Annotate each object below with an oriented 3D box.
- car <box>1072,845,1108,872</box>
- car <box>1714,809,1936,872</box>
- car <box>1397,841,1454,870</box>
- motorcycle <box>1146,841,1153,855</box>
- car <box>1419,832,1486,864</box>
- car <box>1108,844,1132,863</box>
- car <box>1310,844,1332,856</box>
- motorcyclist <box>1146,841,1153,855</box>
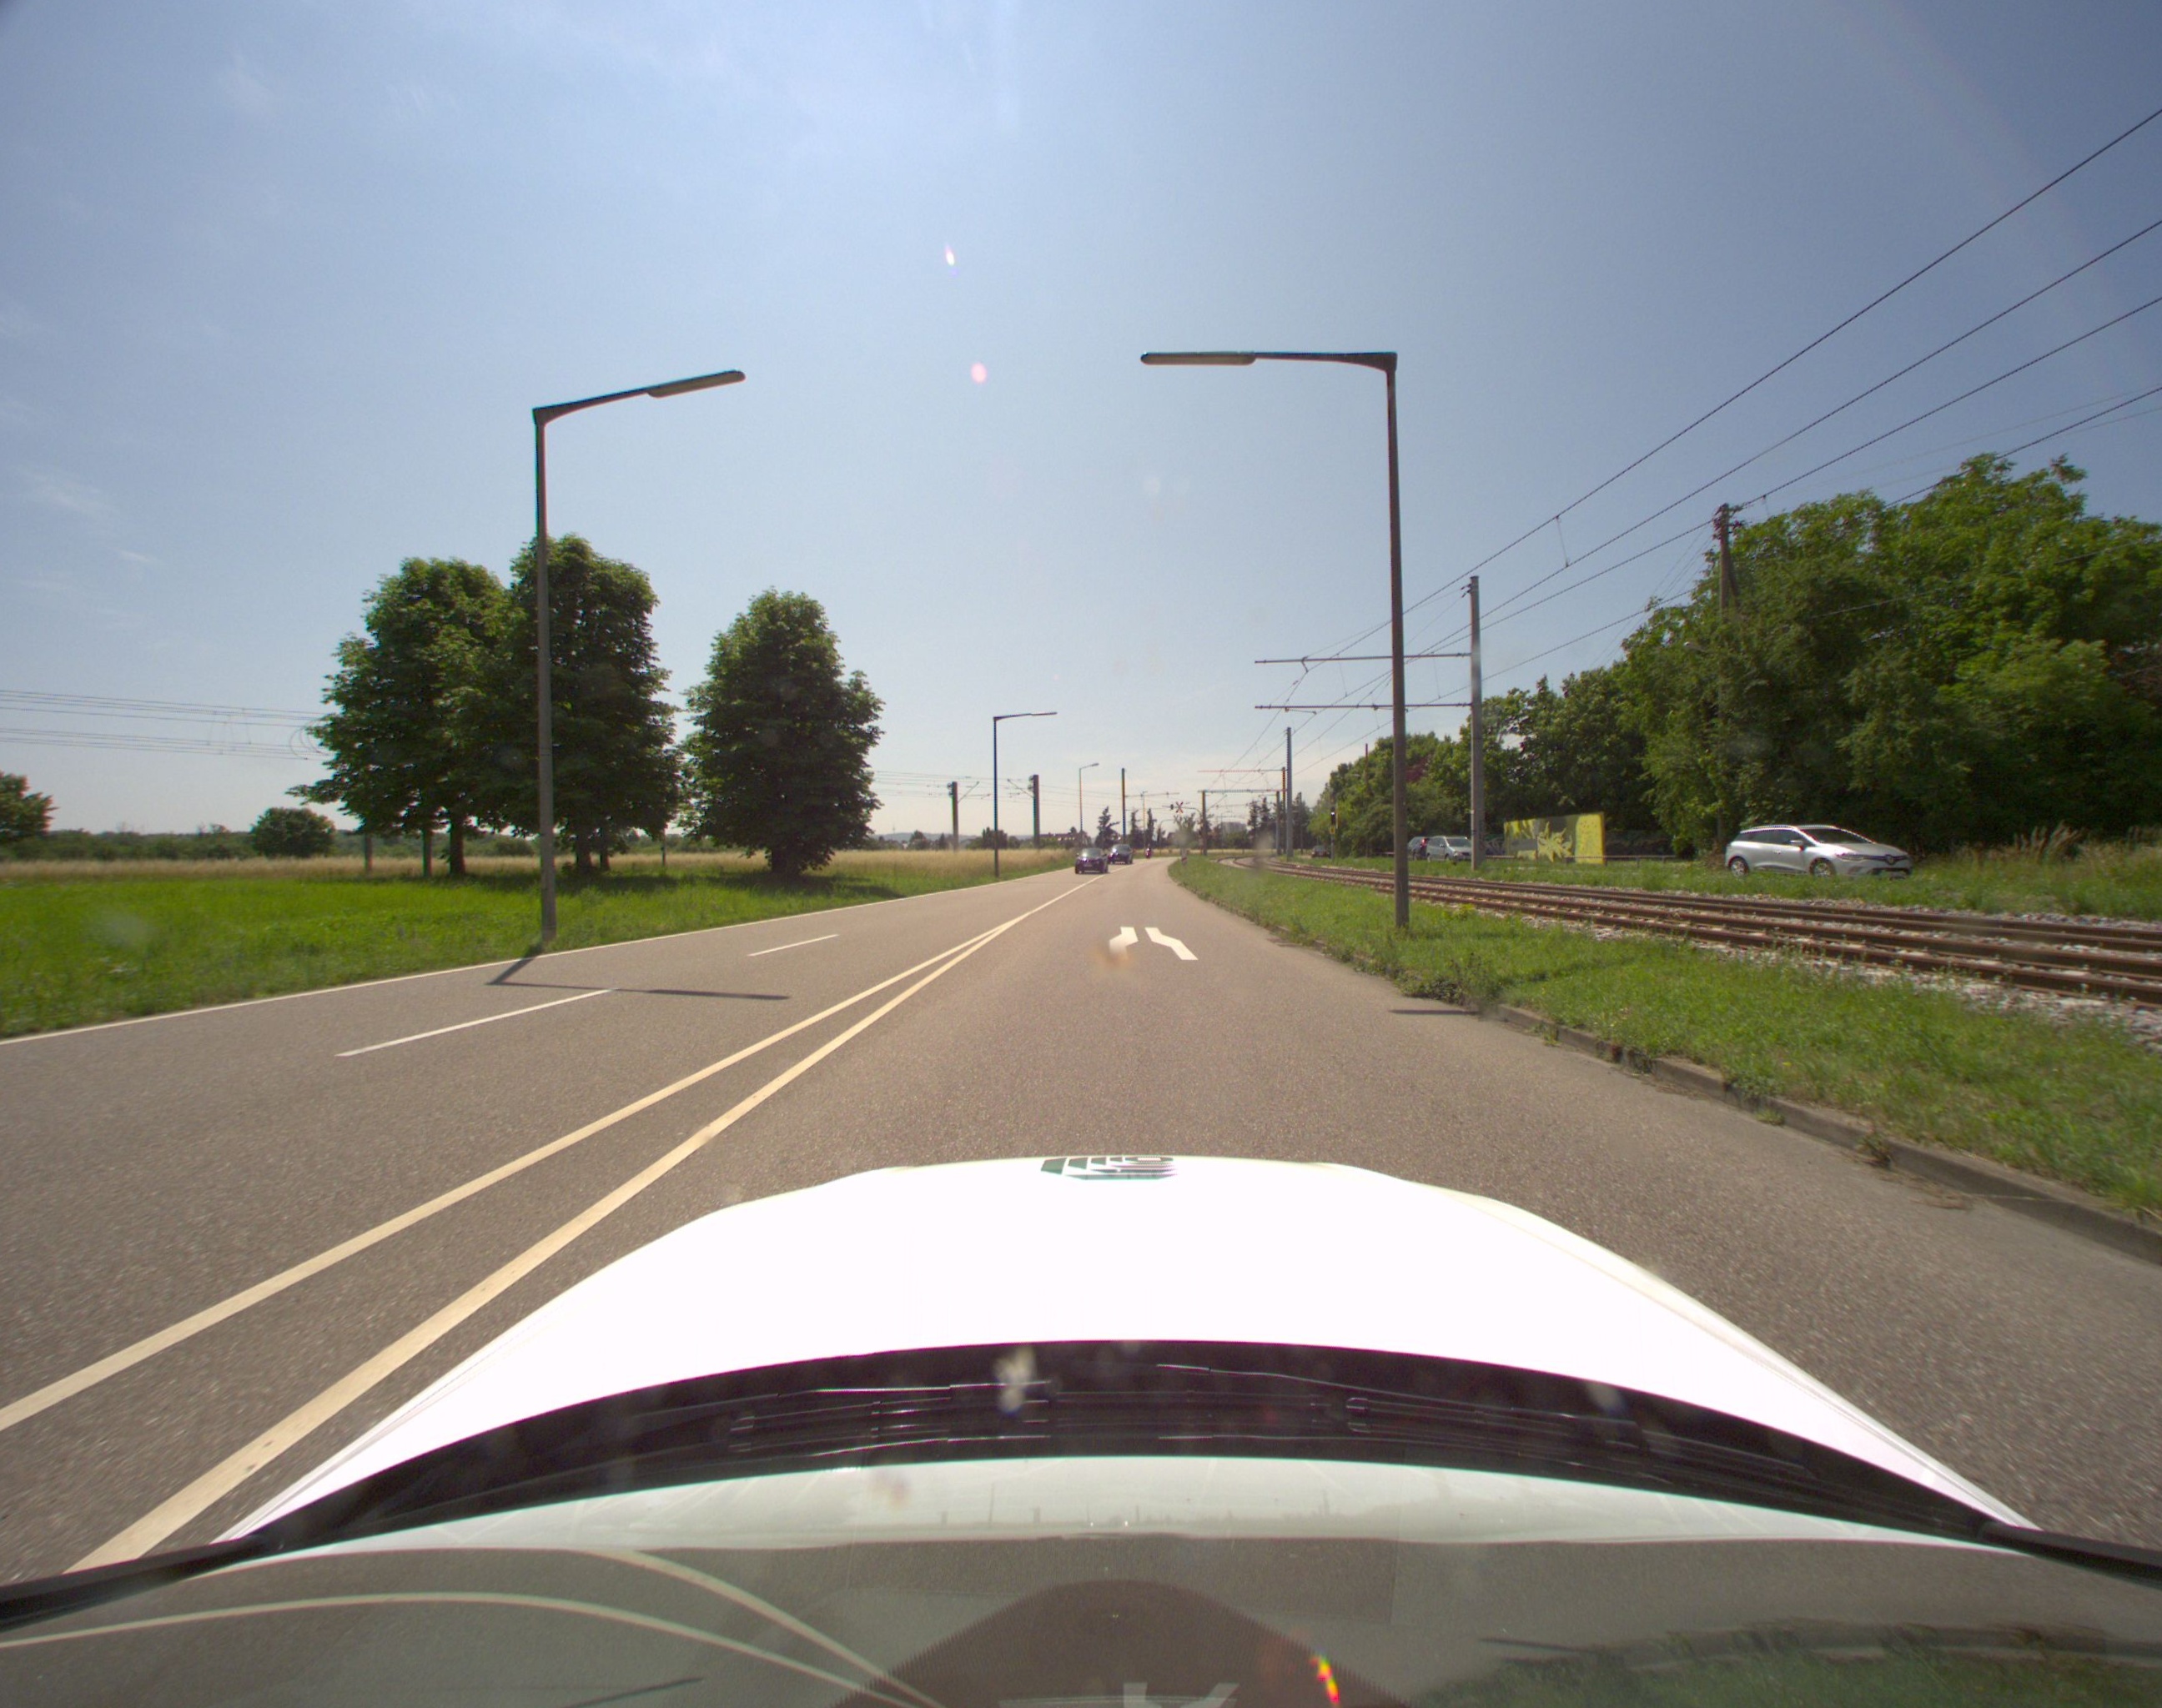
[{"bbox_3d":[0.597,0.284,51.034,1.812,1.572,4.120,-1,-1,7],"label":"car"},{"bbox_3d":[18.708,-0.274,20.830,1.673,1.414,4.553,-1,-1,3],"label":"car"},{"bbox_3d":[21.142,0.146,50.195,1.819,1.657,4.822,-1,-1,5],"label":"car"},{"bbox_3d":[7.797,-0.700,92.682,0.700,1.586,2.150,-1,2,5],"label":"motorcycle"},{"bbox_3d":[20.078,-0.267,44.233,1.670,1.624,4.713,-1,-1,2],"label":"car"},{"bbox_3d":[3.361,-0.073,69.600,1.817,1.601,4.492,-1,1,6],"label":"car"},{"bbox_3d":[26.680,-0.412,90.638,1.637,1.171,3.672,-1,-1,3],"label":"car"},{"bbox_3d":[7.792,-0.718,92.471,0.685,1.585,0.671,-1,3,5],"label":"motorcyclist"}]
